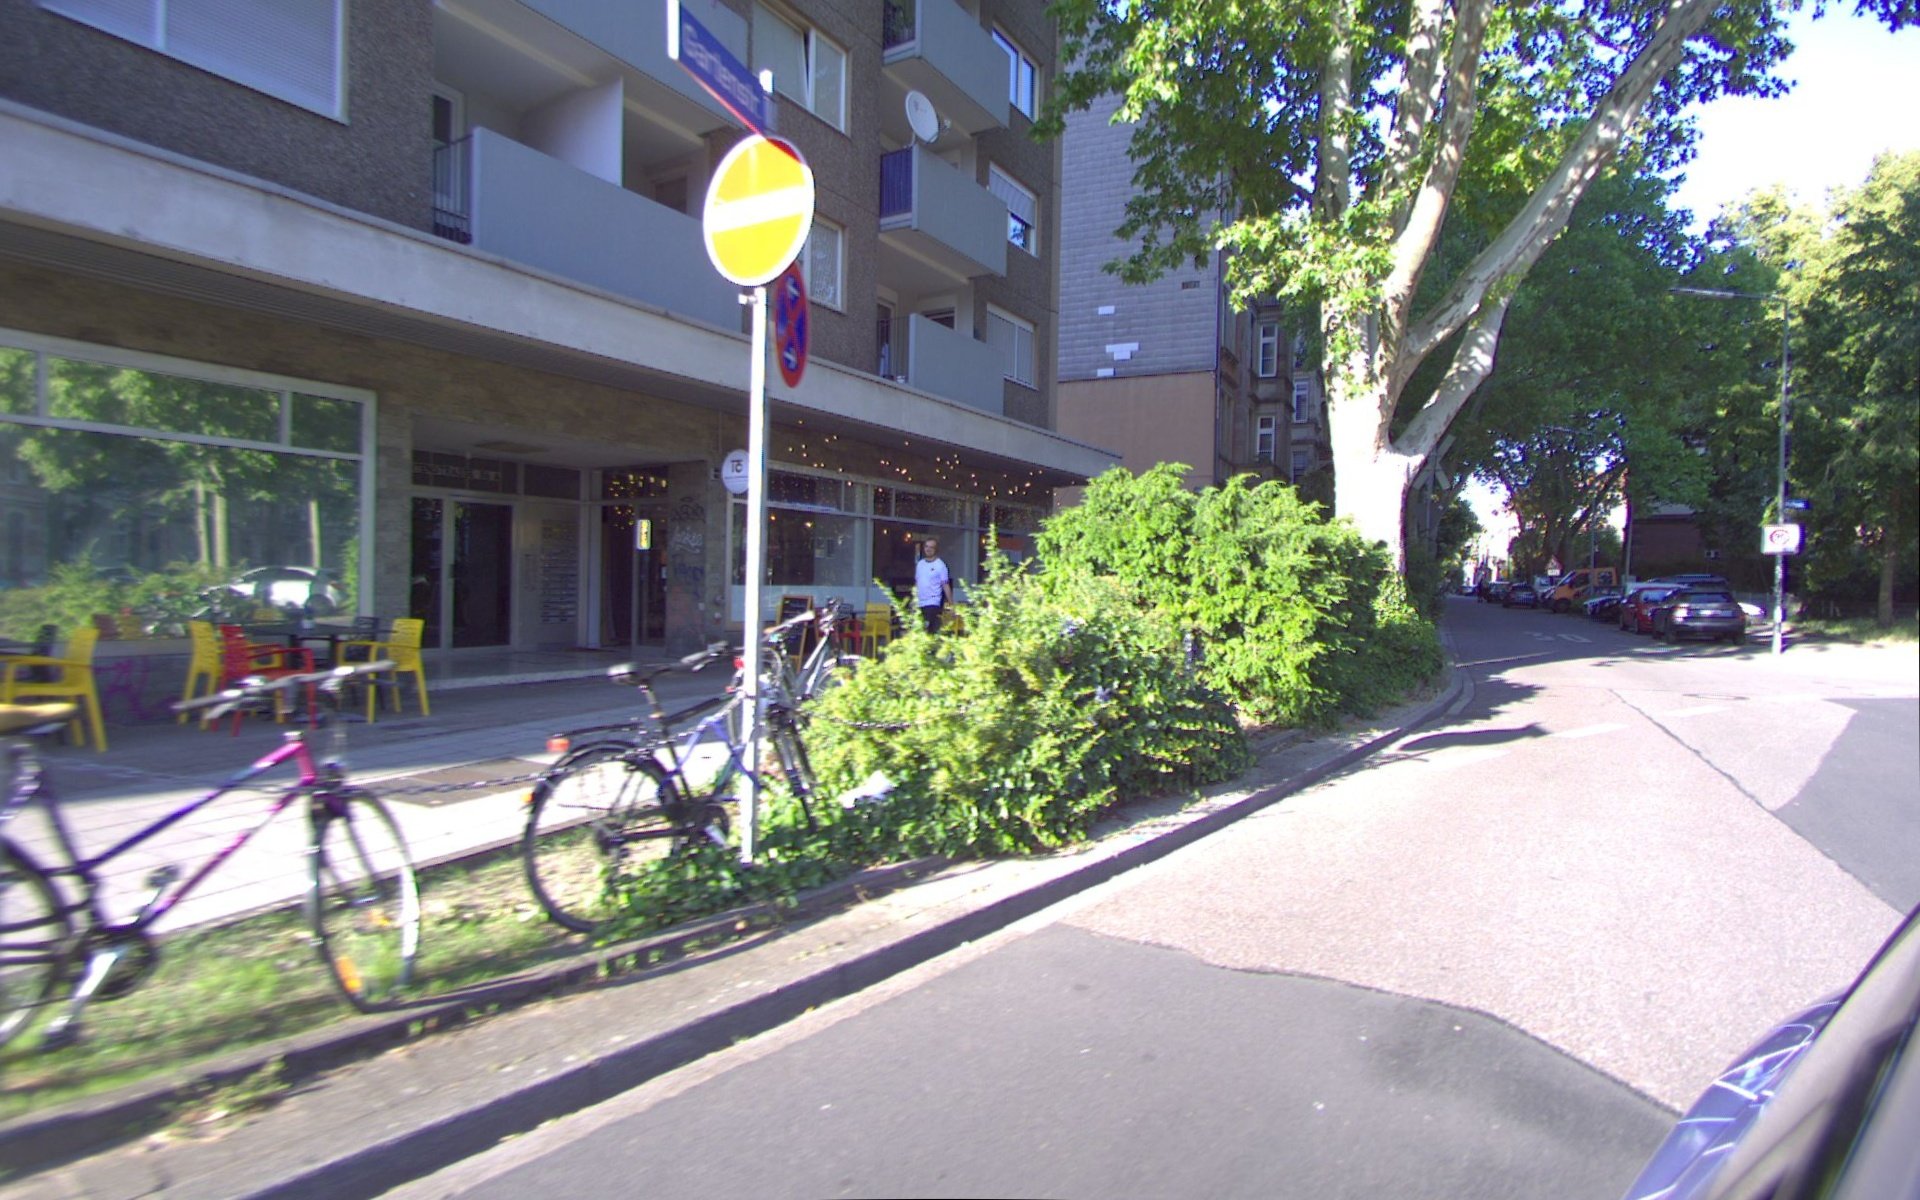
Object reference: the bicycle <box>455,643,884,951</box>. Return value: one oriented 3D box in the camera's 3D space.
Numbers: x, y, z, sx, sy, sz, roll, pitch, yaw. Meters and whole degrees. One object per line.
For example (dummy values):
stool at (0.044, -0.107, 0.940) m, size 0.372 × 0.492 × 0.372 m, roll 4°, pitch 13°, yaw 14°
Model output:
bicycle at (-1.102, 0.689, 4.200) m, size 0.541 × 0.916 × 1.711 m, roll 2°, pitch 2°, yaw 39°

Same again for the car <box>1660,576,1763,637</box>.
car at (20.921, 0.147, 28.329) m, size 1.727 × 1.571 × 4.233 m, roll -2°, pitch 0°, yaw 29°

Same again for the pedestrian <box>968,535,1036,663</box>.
pedestrian at (0.587, -0.028, 14.009) m, size 0.682 × 1.713 × 0.637 m, roll 2°, pitch 2°, yaw 35°

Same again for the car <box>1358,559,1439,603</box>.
car at (27.917, -1.230, 64.619) m, size 4.537 × 2.532 × 1.723 m, roll 4°, pitch 2°, yaw 21°

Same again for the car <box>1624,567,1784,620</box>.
car at (26.596, -0.222, 36.383) m, size 4.362 × 1.729 × 1.716 m, roll -2°, pitch -1°, yaw 29°

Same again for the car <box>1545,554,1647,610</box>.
car at (35.929, -1.048, 57.312) m, size 4.590 × 3.004 × 1.594 m, roll 2°, pitch 1°, yaw 24°

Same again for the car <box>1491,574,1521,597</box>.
car at (38.034, -1.023, 70.558) m, size 1.584 × 1.485 × 2.975 m, roll 3°, pitch 3°, yaw 25°

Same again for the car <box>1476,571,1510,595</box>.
car at (39.311, -1.262, 74.741) m, size 1.715 × 1.652 × 4.467 m, roll 4°, pitch 2°, yaw 22°

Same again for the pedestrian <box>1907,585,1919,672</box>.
pedestrian at (18.294, 0.558, 18.697) m, size 0.701 × 1.627 × 0.816 m, roll 3°, pitch 1°, yaw -12°

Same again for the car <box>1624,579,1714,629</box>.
car at (23.265, 0.075, 33.357) m, size 1.726 × 1.467 × 4.604 m, roll 0°, pitch 1°, yaw 26°

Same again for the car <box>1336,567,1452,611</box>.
car at (19.382, -0.512, 45.254) m, size 4.456 × 1.651 × 1.713 m, roll 4°, pitch 3°, yaw 35°

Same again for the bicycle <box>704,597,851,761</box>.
bicycle at (-1.262, 0.511, 7.112) m, size 0.347 × 1.051 × 1.038 m, roll 3°, pitch 2°, yaw 38°

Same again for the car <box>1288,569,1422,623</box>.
car at (12.948, -0.157, 33.328) m, size 3.953 × 1.491 × 1.723 m, roll 4°, pitch 2°, yaw 21°

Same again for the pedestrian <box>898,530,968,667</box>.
pedestrian at (-0.360, -0.034, 13.735) m, size 0.682 × 1.795 × 0.628 m, roll 2°, pitch 2°, yaw 35°

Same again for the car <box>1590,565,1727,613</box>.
car at (28.538, -0.413, 41.530) m, size 4.362 × 1.799 × 1.768 m, roll -2°, pitch -1°, yaw 29°

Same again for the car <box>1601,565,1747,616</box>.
car at (27.360, -0.353, 38.962) m, size 4.362 × 1.799 × 1.768 m, roll -2°, pitch -1°, yaw 29°

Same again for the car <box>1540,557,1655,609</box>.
car at (31.873, -0.883, 50.742) m, size 4.590 × 2.442 × 1.594 m, roll 2°, pitch 1°, yaw 24°

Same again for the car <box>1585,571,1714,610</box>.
car at (29.551, -0.391, 43.521) m, size 4.362 × 1.511 × 1.768 m, roll -2°, pitch 0°, yaw 29°

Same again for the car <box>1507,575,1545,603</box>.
car at (33.293, -0.677, 59.611) m, size 1.591 × 1.485 × 3.966 m, roll 3°, pitch 3°, yaw 25°

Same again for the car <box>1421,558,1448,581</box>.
car at (44.927, -2.878, 95.771) m, size 1.983 × 2.038 × 3.958 m, roll 2°, pitch 2°, yaw 30°

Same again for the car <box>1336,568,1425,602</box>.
car at (23.358, -0.863, 56.394) m, size 4.431 × 1.651 × 1.723 m, roll 4°, pitch 2°, yaw 21°

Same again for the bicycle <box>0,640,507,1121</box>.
bicycle at (-2.333, 0.666, 2.600) m, size 2.048 × 1.035 × 0.641 m, roll 0°, pitch 2°, yaw -35°
